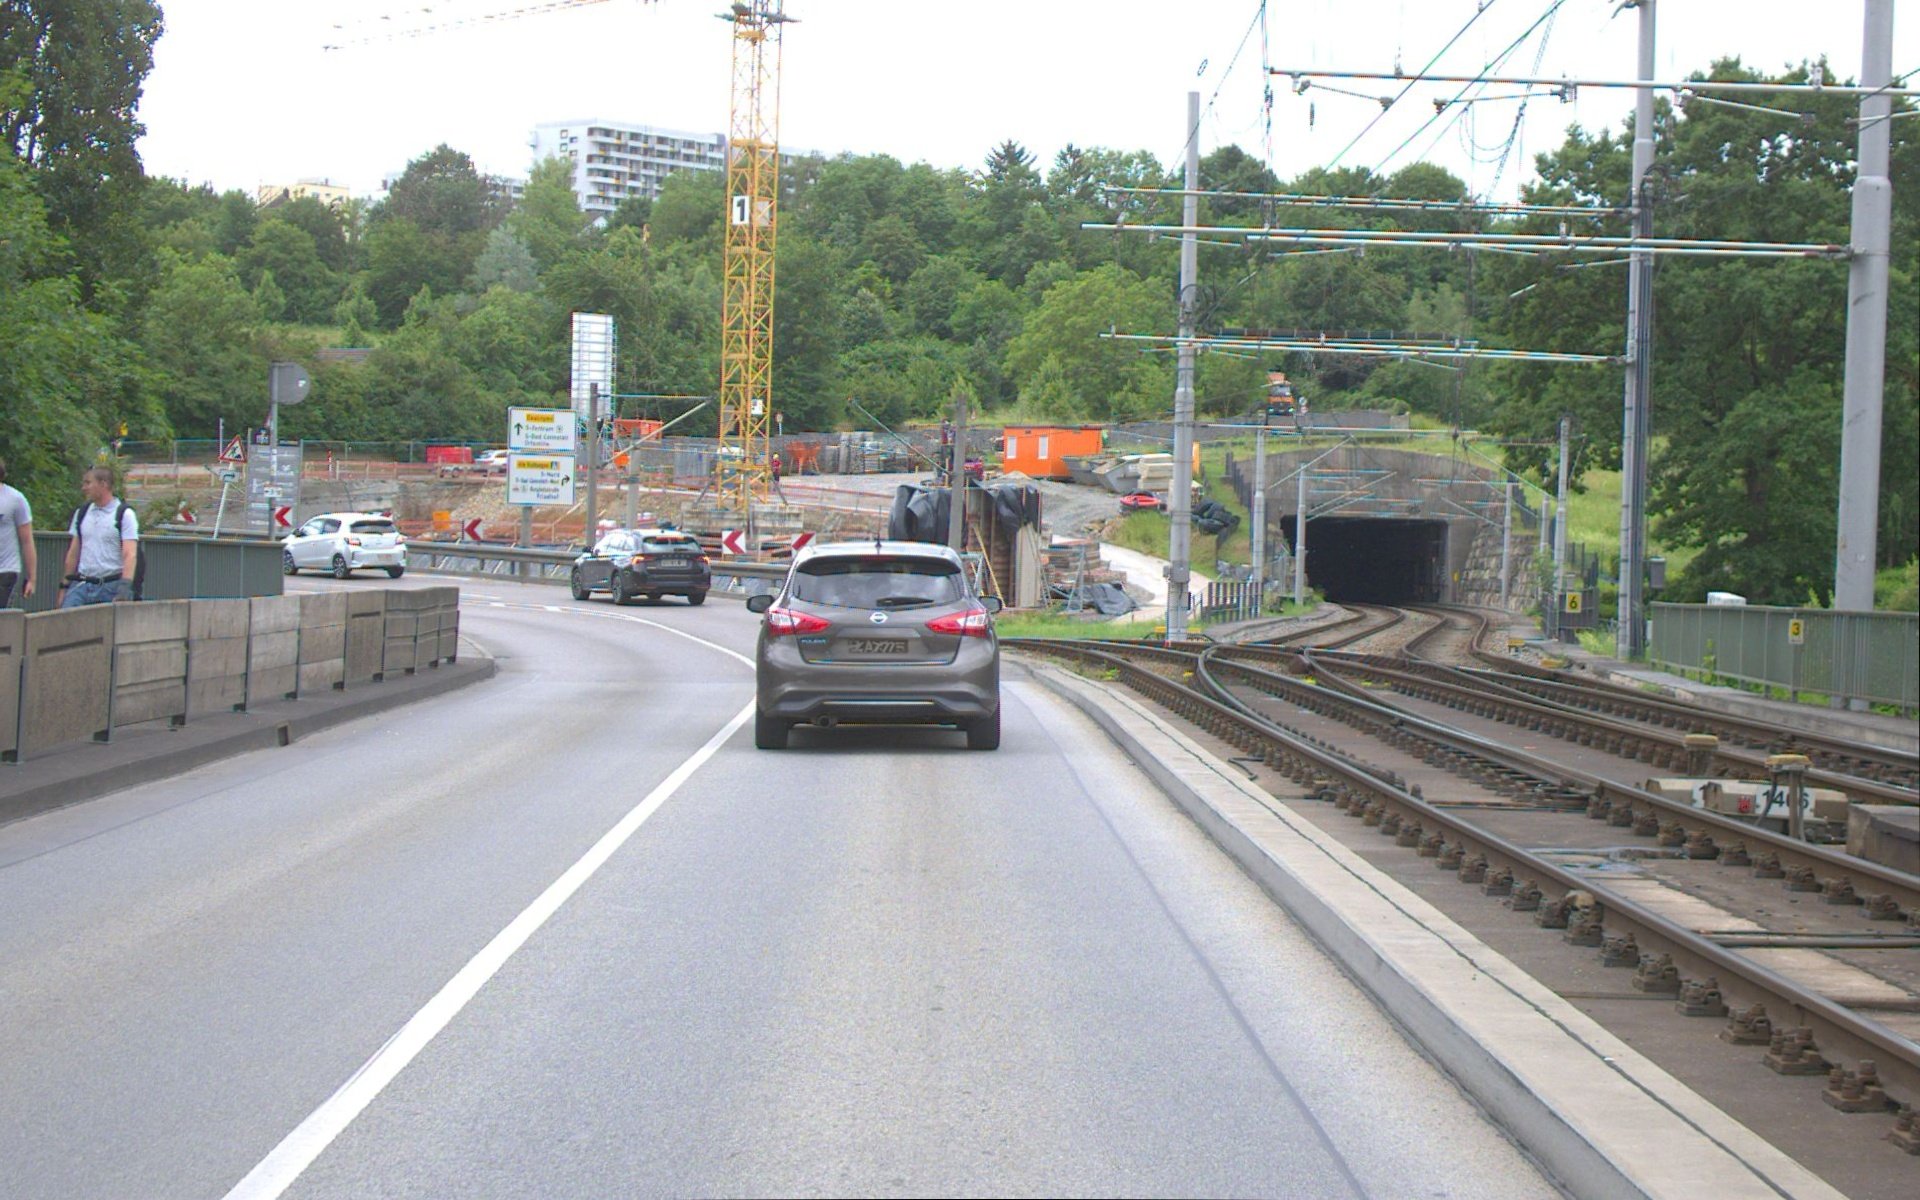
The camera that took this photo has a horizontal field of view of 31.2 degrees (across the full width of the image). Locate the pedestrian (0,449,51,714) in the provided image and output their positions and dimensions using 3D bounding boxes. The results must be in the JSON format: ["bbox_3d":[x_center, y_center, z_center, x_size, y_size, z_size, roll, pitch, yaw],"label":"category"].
[{"bbox_3d":[-6.872,-0.145,24.193,0.721,1.833,0.723,2,1,-1],"label":"pedestrian"}]

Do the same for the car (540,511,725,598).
[{"bbox_3d":[-6.480,-0.911,67.644,1.680,1.601,4.309,0,2,-35],"label":"car"}]

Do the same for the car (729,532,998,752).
[{"bbox_3d":[-0.653,0.257,26.012,1.830,1.504,4.000,1,1,1],"label":"car"}]

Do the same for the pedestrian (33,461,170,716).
[{"bbox_3d":[-5.836,-0.085,23.400,0.721,1.695,0.723,2,1,-1],"label":"pedestrian"}]

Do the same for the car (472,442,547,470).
[{"bbox_3d":[-24.336,-7.800,185.837,3.997,1.405,1.796,3,2,41],"label":"car"}]

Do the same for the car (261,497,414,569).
[{"bbox_3d":[-14.696,-1.586,81.025,1.680,1.601,4.308,0,2,-39],"label":"car"}]
